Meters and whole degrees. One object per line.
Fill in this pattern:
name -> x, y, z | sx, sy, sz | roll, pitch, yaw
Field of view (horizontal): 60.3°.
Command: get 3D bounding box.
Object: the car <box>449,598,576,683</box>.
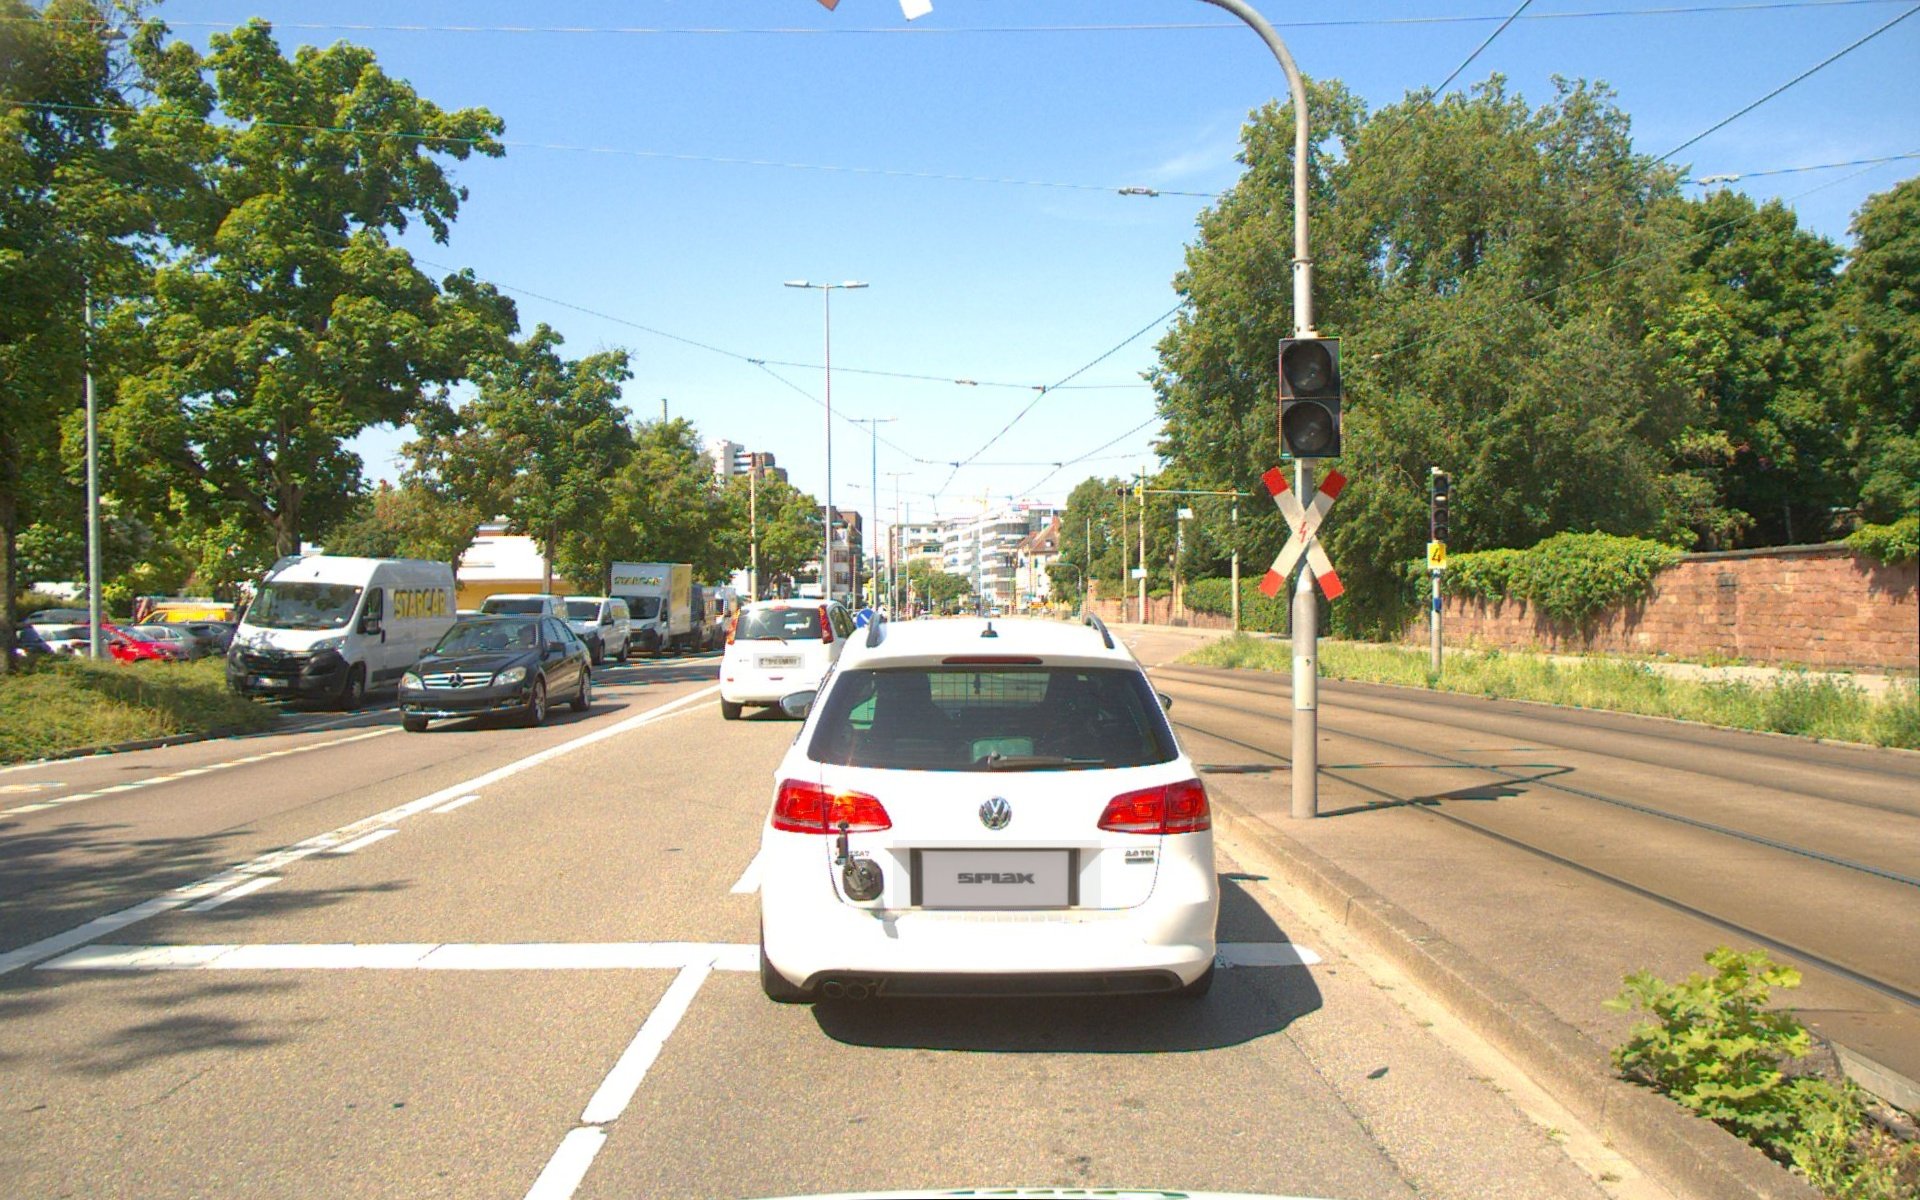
car -> -11.203, 0.979, 41.762 | 2.153, 1.975, 5.179 | -1, 0, -5

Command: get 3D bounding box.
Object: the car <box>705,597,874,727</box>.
car -> -2.238, 0.787, 22.647 | 1.694, 1.624, 4.012 | 0, 0, 3

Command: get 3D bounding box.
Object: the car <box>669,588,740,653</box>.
car -> -11.008, 0.854, 71.722 | 2.151, 2.677, 5.978 | 1, 0, 0

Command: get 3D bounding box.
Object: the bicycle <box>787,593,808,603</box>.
bicycle -> -15.056, -0.168, 153.085 | 0.543, 0.937, 2.164 | -1, 0, 42

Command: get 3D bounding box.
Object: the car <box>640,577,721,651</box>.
car -> -10.922, 0.531, 65.010 | 2.151, 2.715, 6.078 | 1, 0, 0

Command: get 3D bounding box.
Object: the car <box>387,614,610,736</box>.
car -> -6.177, 0.950, 22.668 | 1.748, 1.434, 4.305 | -1, 0, 1

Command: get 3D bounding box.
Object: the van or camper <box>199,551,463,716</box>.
van or camper -> -10.846, 0.552, 29.157 | 2.211, 2.559, 6.147 | -1, 0, 1

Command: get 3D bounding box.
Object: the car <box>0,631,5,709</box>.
car -> -21.127, 1.434, 32.337 | 3.907, 1.571, 1.662 | -1, -1, -3

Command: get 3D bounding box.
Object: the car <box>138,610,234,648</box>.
car -> -47.297, 1.783, 101.091 | 4.831, 2.212, 2.099 | -1, -1, -4

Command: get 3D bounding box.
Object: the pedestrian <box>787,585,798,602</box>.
pedestrian -> -15.521, -0.607, 153.412 | 0.556, 1.513, 0.811 | -2, -1, 42

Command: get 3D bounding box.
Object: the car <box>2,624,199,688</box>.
car -> -21.099, 1.371, 40.700 | 3.906, 1.434, 1.732 | -1, 0, -1

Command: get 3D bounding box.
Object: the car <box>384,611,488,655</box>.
car -> -22.278, 1.395, 70.387 | 3.907, 1.724, 1.662 | -1, -1, -3

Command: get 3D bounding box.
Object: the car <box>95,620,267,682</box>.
car -> -21.425, 1.389, 45.594 | 3.906, 1.571, 1.663 | -1, -1, -1

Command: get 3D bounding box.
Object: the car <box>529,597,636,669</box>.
car -> -11.045, 0.942, 48.784 | 2.152, 1.975, 5.182 | -1, 0, -2

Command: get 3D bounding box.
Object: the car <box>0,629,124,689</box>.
car -> -21.564, 1.366, 37.987 | 3.836, 1.293, 1.663 | -1, -1, -1

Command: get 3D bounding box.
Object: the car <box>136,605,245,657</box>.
car -> -34.088, 1.347, 73.357 | 3.908, 2.238, 1.909 | -1, 0, -5

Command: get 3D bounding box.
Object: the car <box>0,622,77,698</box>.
car -> -21.445, 1.311, 35.656 | 3.906, 1.571, 1.663 | -1, -1, -1

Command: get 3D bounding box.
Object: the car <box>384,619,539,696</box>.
car -> -10.570, 1.172, 35.442 | 1.893, 1.480, 4.884 | -1, 0, -1

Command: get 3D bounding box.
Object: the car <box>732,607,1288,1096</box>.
car -> 0.160, 0.816, 7.222 | 1.742, 1.516, 3.846 | 2, 0, 0

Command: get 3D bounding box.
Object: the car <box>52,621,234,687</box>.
car -> -21.318, 1.396, 43.257 | 3.906, 1.571, 1.663 | -1, 0, -1

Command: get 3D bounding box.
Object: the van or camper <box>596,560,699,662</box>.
van or camper -> -10.688, 0.374, 57.084 | 2.151, 3.298, 6.772 | 1, 0, 1

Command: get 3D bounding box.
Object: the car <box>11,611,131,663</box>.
car -> -36.690, 1.493, 68.345 | 3.909, 2.038, 1.909 | -1, 0, -5
